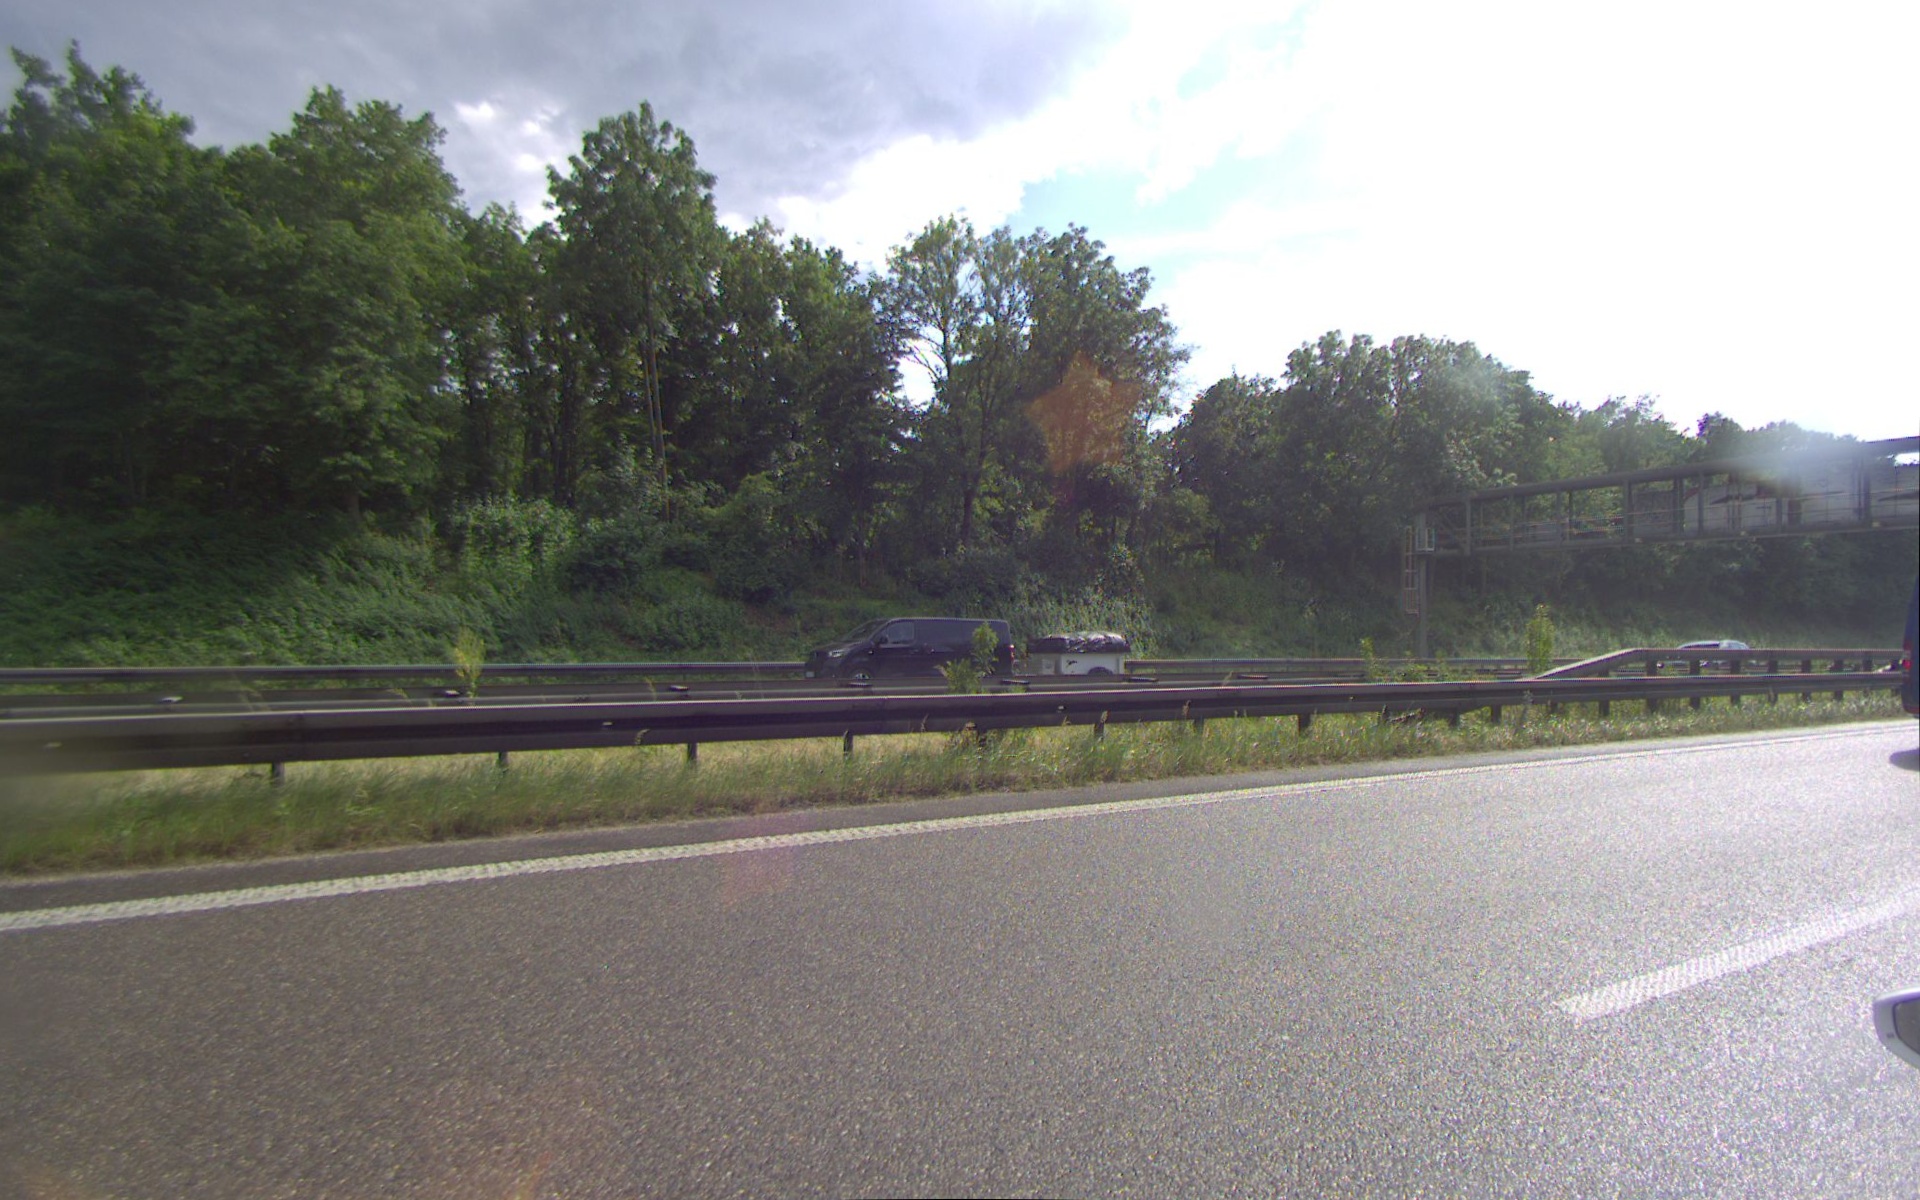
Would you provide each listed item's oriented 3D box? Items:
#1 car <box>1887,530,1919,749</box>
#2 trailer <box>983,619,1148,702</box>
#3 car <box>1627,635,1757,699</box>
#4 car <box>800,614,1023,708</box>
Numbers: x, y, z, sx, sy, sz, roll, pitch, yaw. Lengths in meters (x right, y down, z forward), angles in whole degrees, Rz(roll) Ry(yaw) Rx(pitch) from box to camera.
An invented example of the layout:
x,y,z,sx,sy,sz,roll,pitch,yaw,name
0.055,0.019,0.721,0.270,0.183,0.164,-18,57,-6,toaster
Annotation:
x,y,z,sx,sy,sz,roll,pitch,yaw,name
14.550,0.556,13.168,5.711,2.684,2.005,2,0,-31,car
2.825,1.580,26.850,3.953,2.040,1.984,2,0,-30,trailer
25.724,2.314,35.267,4.678,2.040,1.983,2,0,-31,car
-1.122,1.438,24.474,5.081,2.040,1.983,2,0,-31,car
